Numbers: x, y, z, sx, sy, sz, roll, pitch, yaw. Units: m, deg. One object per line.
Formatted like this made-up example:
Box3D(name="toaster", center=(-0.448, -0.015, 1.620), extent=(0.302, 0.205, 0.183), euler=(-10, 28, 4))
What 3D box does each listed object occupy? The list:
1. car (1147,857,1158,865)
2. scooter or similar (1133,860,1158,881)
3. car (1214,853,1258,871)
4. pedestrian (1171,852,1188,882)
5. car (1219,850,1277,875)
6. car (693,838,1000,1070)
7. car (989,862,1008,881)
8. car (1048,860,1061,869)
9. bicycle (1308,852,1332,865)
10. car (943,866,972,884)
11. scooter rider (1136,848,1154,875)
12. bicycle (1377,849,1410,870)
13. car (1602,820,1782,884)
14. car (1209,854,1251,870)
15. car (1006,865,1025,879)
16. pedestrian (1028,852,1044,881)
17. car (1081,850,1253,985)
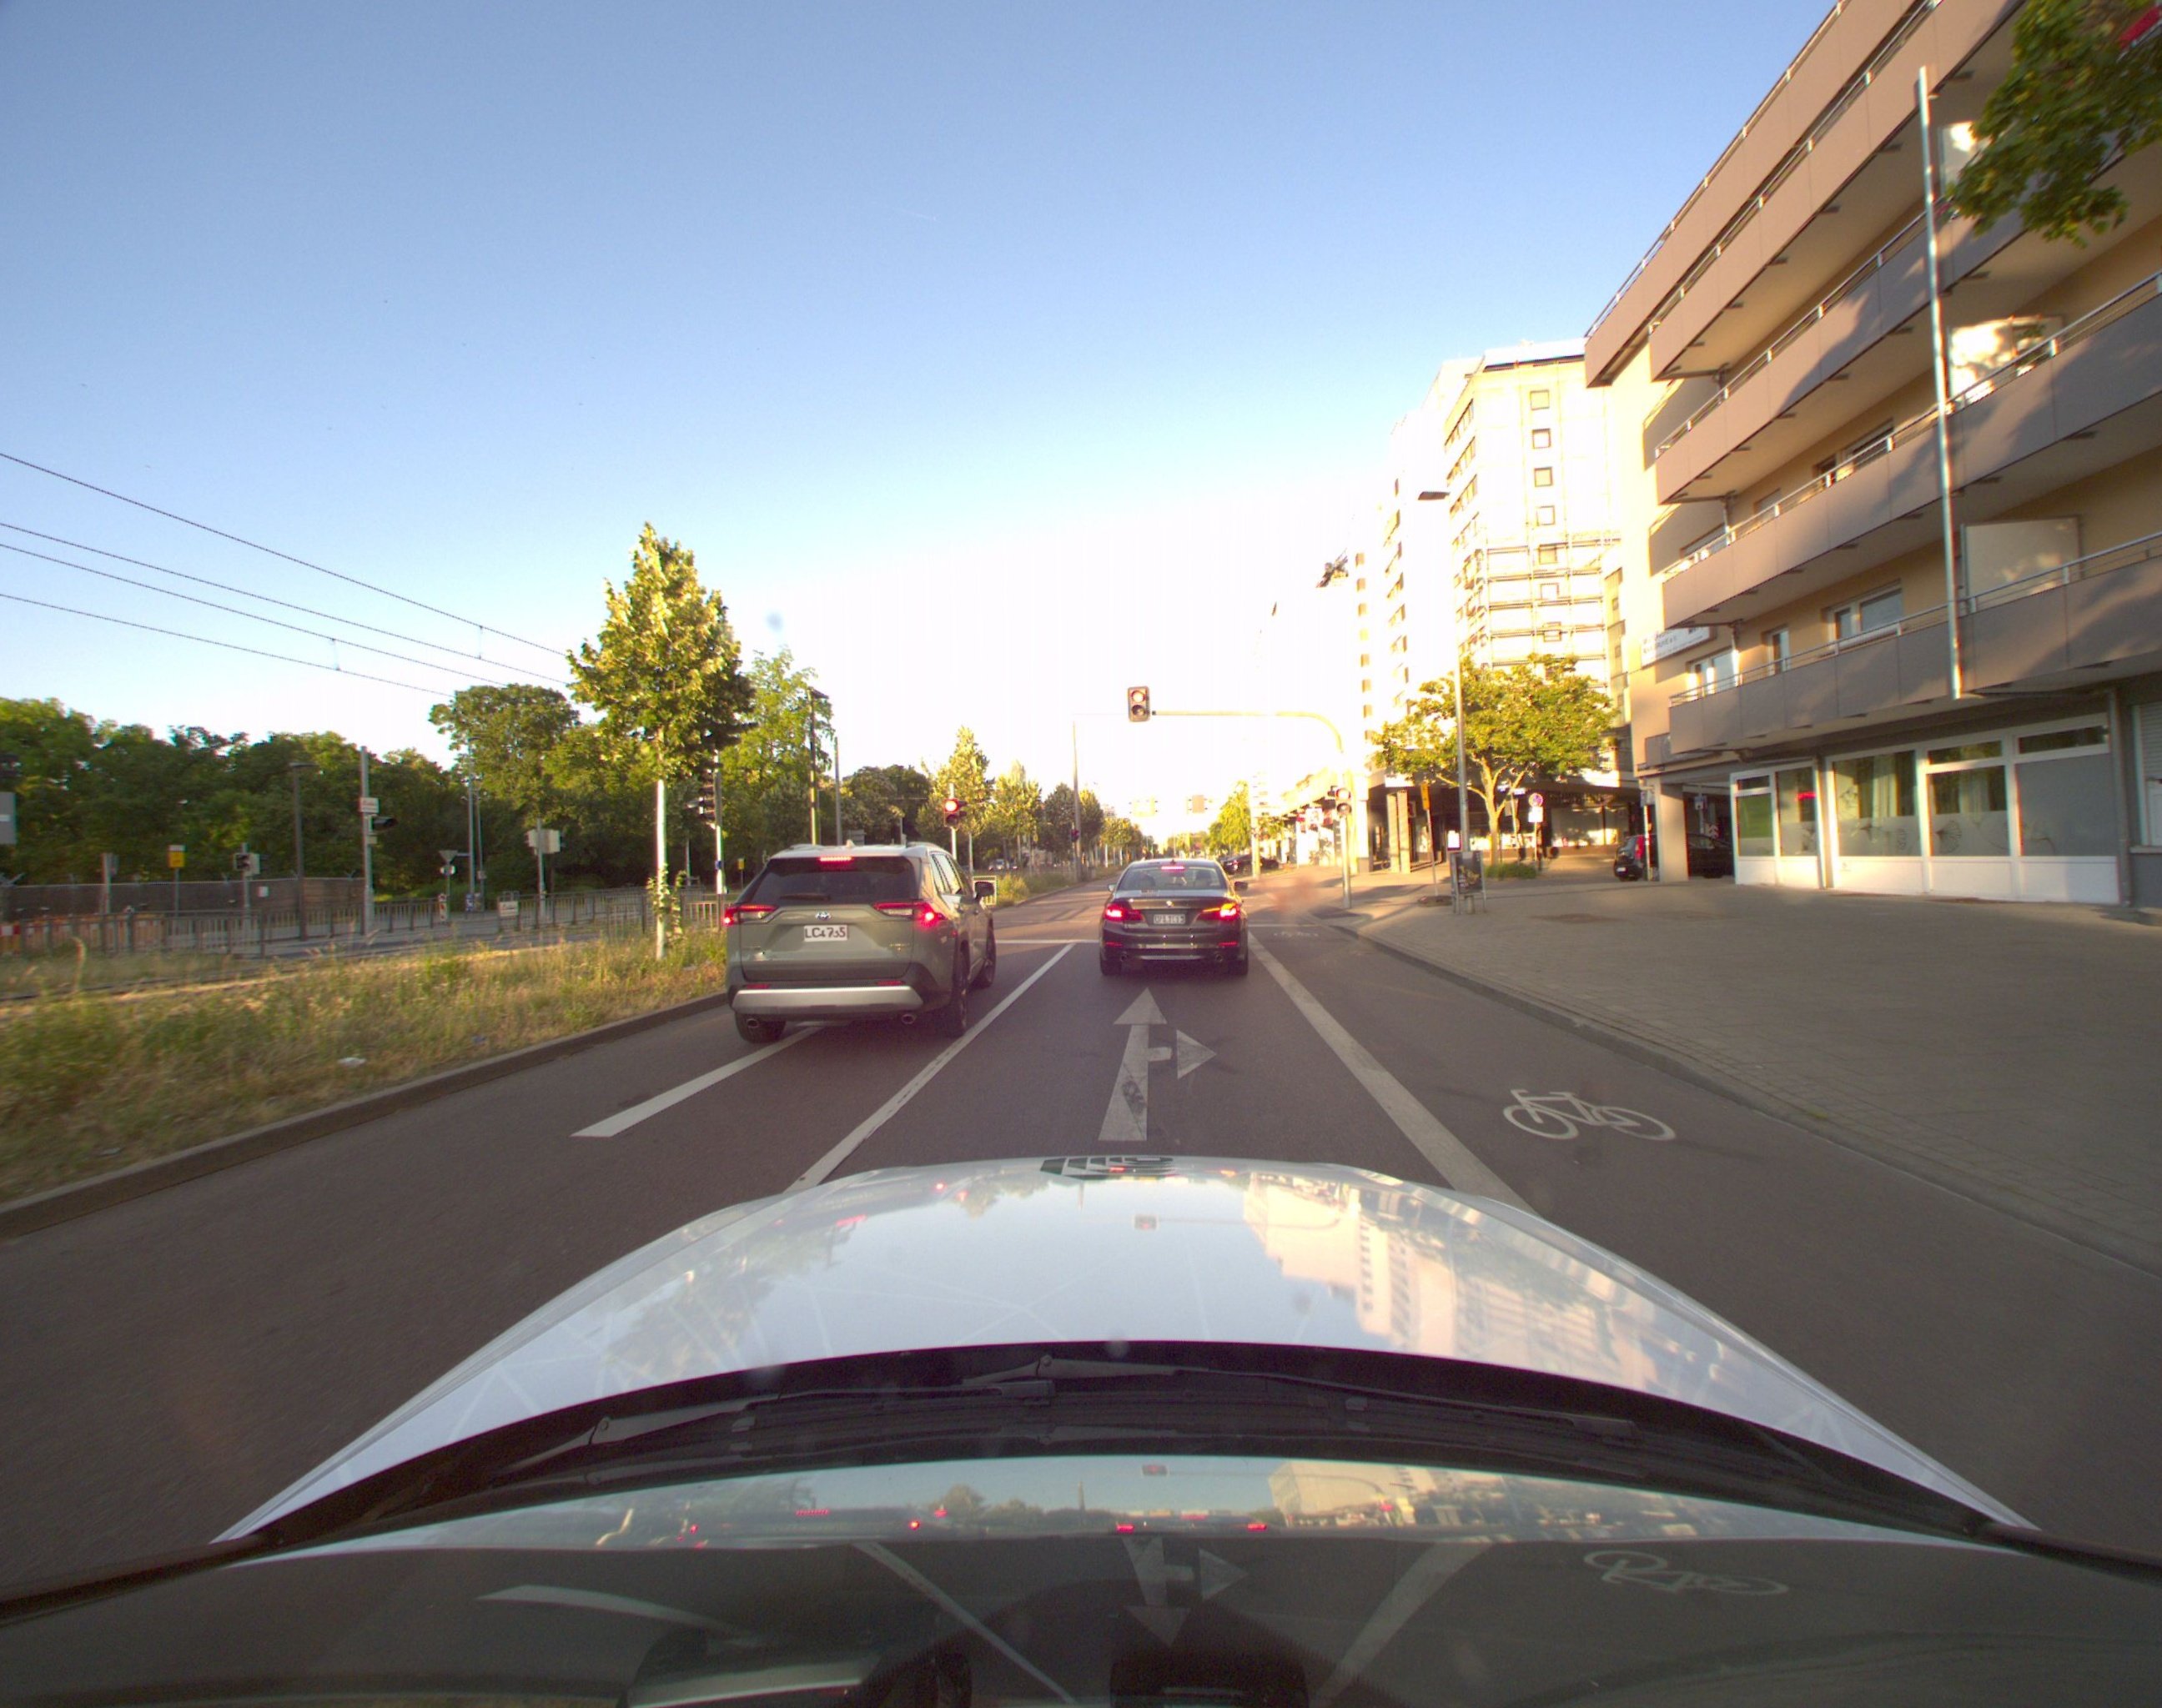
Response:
Box3D(name="car", center=(13.347, 1.325, 151.619), extent=(1.969, 1.433, 4.851), euler=(-1, 1, 6))
Box3D(name="scooter or similar", center=(3.704, 0.947, 46.961), extent=(1.329, 1.153, 0.512), euler=(-2, -1, -11))
Box3D(name="car", center=(15.840, 0.787, 83.067), extent=(4.281, 1.658, 1.843), euler=(-2, 1, -30))
Box3D(name="pedestrian", center=(5.419, 0.686, 44.646), extent=(0.830, 1.586, 0.814), euler=(-3, -1, 9))
Box3D(name="car", center=(12.509, 0.611, 60.873), extent=(4.288, 1.658, 1.840), euler=(-2, 1, -37))
Box3D(name="car", center=(-1.930, 0.701, 8.123), extent=(1.849, 1.658, 4.266), euler=(-1, 1, -1))
Box3D(name="car", center=(-10.408, 2.135, 102.818), extent=(1.988, 2.168, 4.748), euler=(-1, 1, -1))
Box3D(name="car", center=(-4.944, 1.944, 150.462), extent=(1.790, 1.481, 3.790), euler=(-2, 0, 6))
Box3D(name="bicycle", center=(21.280, 0.379, 72.545), extent=(2.003, 1.149, 0.693), euler=(0, -1, 12))
Box3D(name="car", center=(-13.227, 2.212, 87.695), extent=(1.984, 1.744, 4.757), euler=(-1, 1, 4))
Box3D(name="scooter rider", center=(3.682, 0.425, 46.999), extent=(0.821, 1.514, 0.650), euler=(-2, -1, -10))
Box3D(name="bicycle", center=(17.304, 0.299, 45.118), extent=(0.689, 1.149, 2.014), euler=(1, -1, -13))
Box3D(name="car", center=(18.771, -0.028, 25.206), extent=(4.016, 1.585, 1.710), euler=(-4, -4, 10))
Box3D(name="car", center=(16.350, 0.844, 89.240), extent=(4.280, 1.658, 1.843), euler=(-2, 1, -29))
Box3D(name="car", center=(-9.287, 2.603, 116.172), extent=(1.984, 1.744, 4.757), euler=(-1, 1, 4))
Box3D(name="pedestrian", center=(-2.796, 0.770, 50.623), extent=(0.831, 1.712, 0.648), euler=(-3, -1, 4))
Box3D(name="car", center=(1.260, 0.724, 11.573), extent=(1.922, 1.481, 4.532), euler=(-1, 1, 7))
